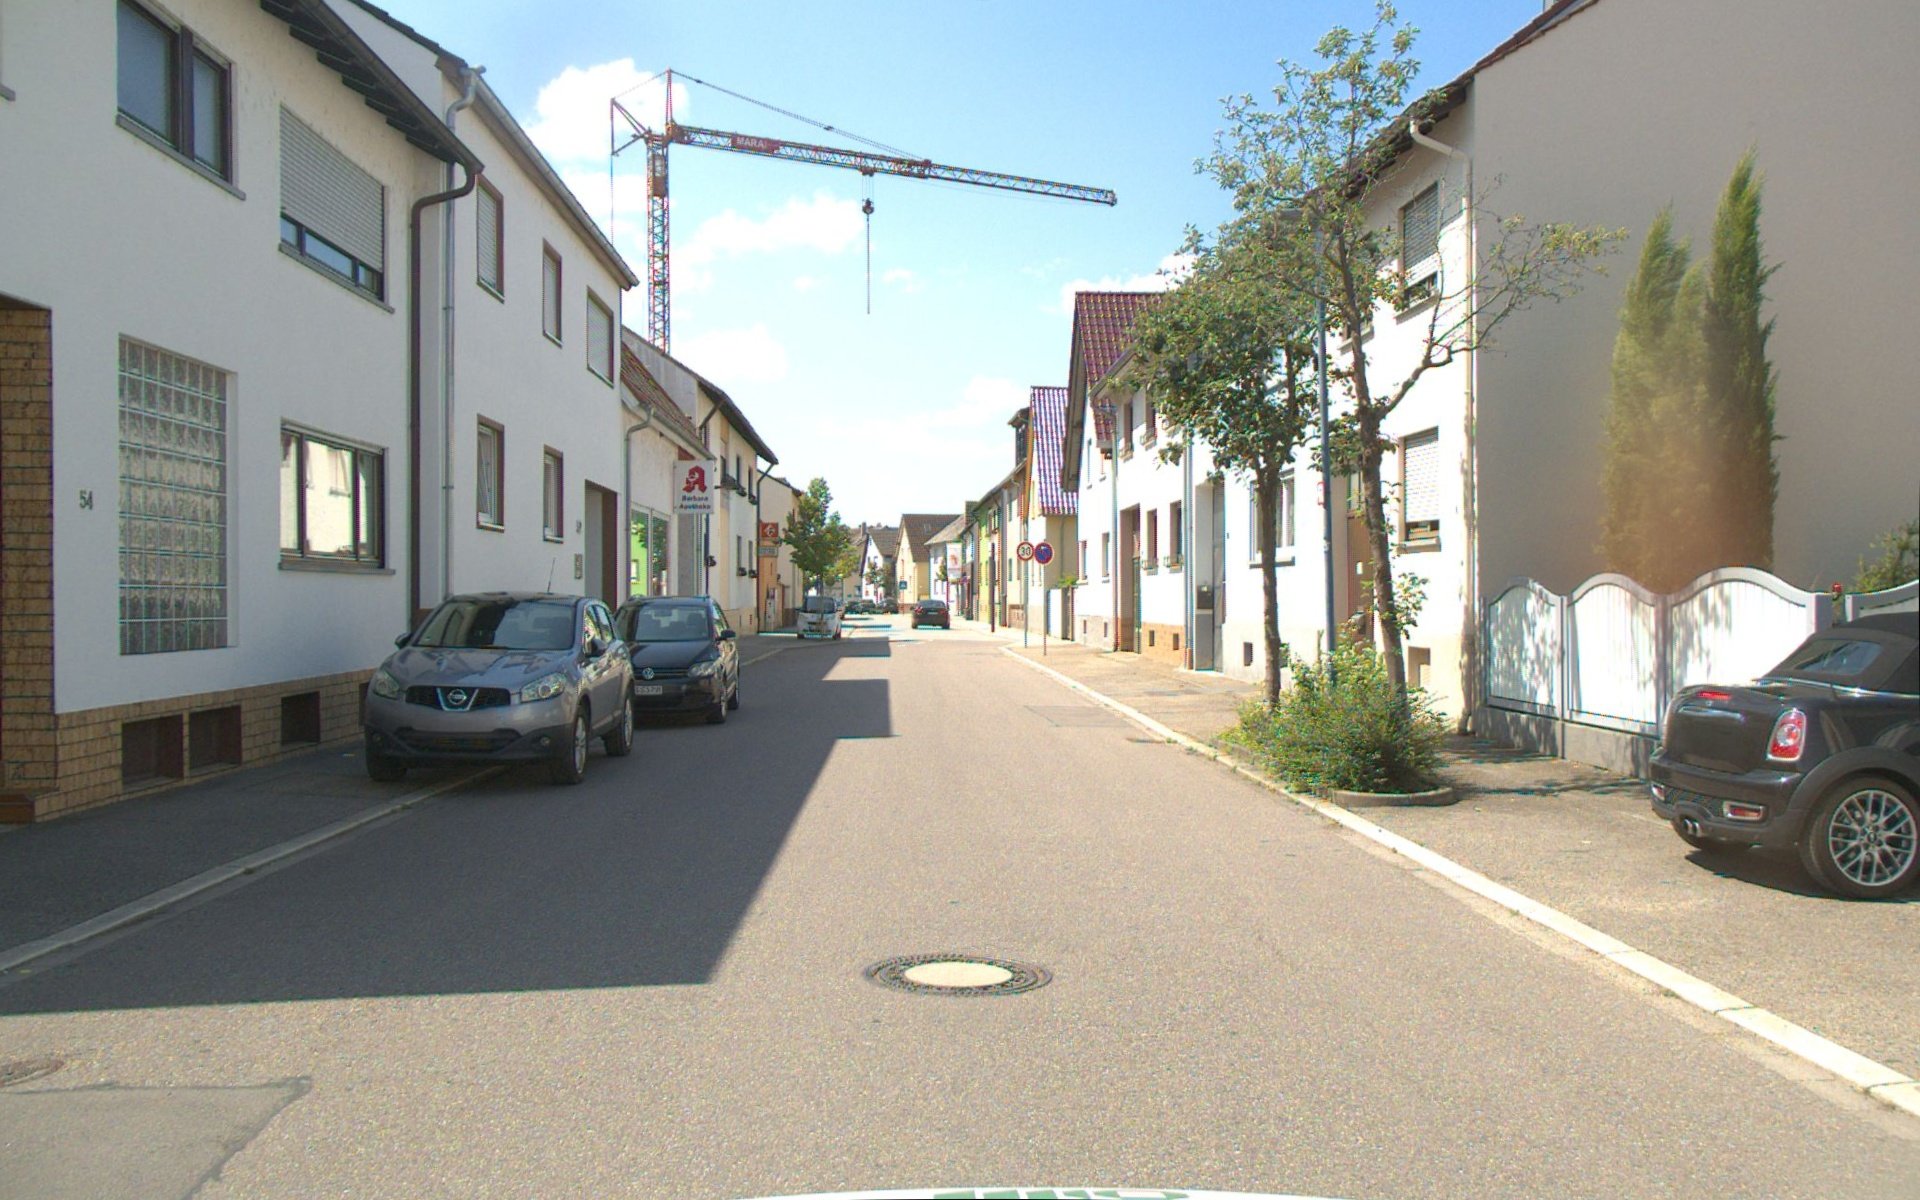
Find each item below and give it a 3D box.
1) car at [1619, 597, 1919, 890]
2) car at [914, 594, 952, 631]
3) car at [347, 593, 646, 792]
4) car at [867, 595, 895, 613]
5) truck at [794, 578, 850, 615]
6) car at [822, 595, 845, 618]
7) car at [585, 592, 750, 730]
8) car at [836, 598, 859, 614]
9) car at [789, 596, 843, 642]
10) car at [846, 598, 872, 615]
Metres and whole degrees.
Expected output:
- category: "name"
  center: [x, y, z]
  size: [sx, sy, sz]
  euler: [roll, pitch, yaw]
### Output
- category: "car"
  center: [5.910, 0.706, 9.151]
  size: [3.843, 1.439, 1.740]
  euler: [0, 0, -2]
- category: "car"
  center: [-1.390, 0.636, 83.426]
  size: [1.747, 1.784, 3.997]
  euler: [-1, 0, -3]
- category: "car"
  center: [-4.067, 0.725, 15.228]
  size: [1.723, 1.551, 4.287]
  euler: [0, 0, -3]
- category: "car"
  center: [-8.071, 0.436, 167.879]
  size: [1.756, 1.784, 4.206]
  euler: [-1, 0, -19]
- category: "truck"
  center: [-15.397, -0.332, 183.156]
  size: [3.325, 3.933, 13.859]
  euler: [-1, 0, -17]
- category: "car"
  center: [-9.966, 0.535, 129.919]
  size: [1.701, 1.716, 4.226]
  euler: [2, 0, -6]
- category: "car"
  center: [-3.756, 0.727, 21.808]
  size: [1.620, 1.637, 4.059]
  euler: [0, 0, -3]
- category: "car"
  center: [-12.559, 0.653, 184.945]
  size: [1.791, 1.784, 4.212]
  euler: [-1, 0, -15]
- category: "car"
  center: [-5.286, 0.682, 60.989]
  size: [1.688, 1.583, 4.171]
  euler: [1, 0, -2]
- category: "car"
  center: [-10.797, 0.666, 177.385]
  size: [1.793, 1.784, 4.207]
  euler: [-1, 0, -18]
